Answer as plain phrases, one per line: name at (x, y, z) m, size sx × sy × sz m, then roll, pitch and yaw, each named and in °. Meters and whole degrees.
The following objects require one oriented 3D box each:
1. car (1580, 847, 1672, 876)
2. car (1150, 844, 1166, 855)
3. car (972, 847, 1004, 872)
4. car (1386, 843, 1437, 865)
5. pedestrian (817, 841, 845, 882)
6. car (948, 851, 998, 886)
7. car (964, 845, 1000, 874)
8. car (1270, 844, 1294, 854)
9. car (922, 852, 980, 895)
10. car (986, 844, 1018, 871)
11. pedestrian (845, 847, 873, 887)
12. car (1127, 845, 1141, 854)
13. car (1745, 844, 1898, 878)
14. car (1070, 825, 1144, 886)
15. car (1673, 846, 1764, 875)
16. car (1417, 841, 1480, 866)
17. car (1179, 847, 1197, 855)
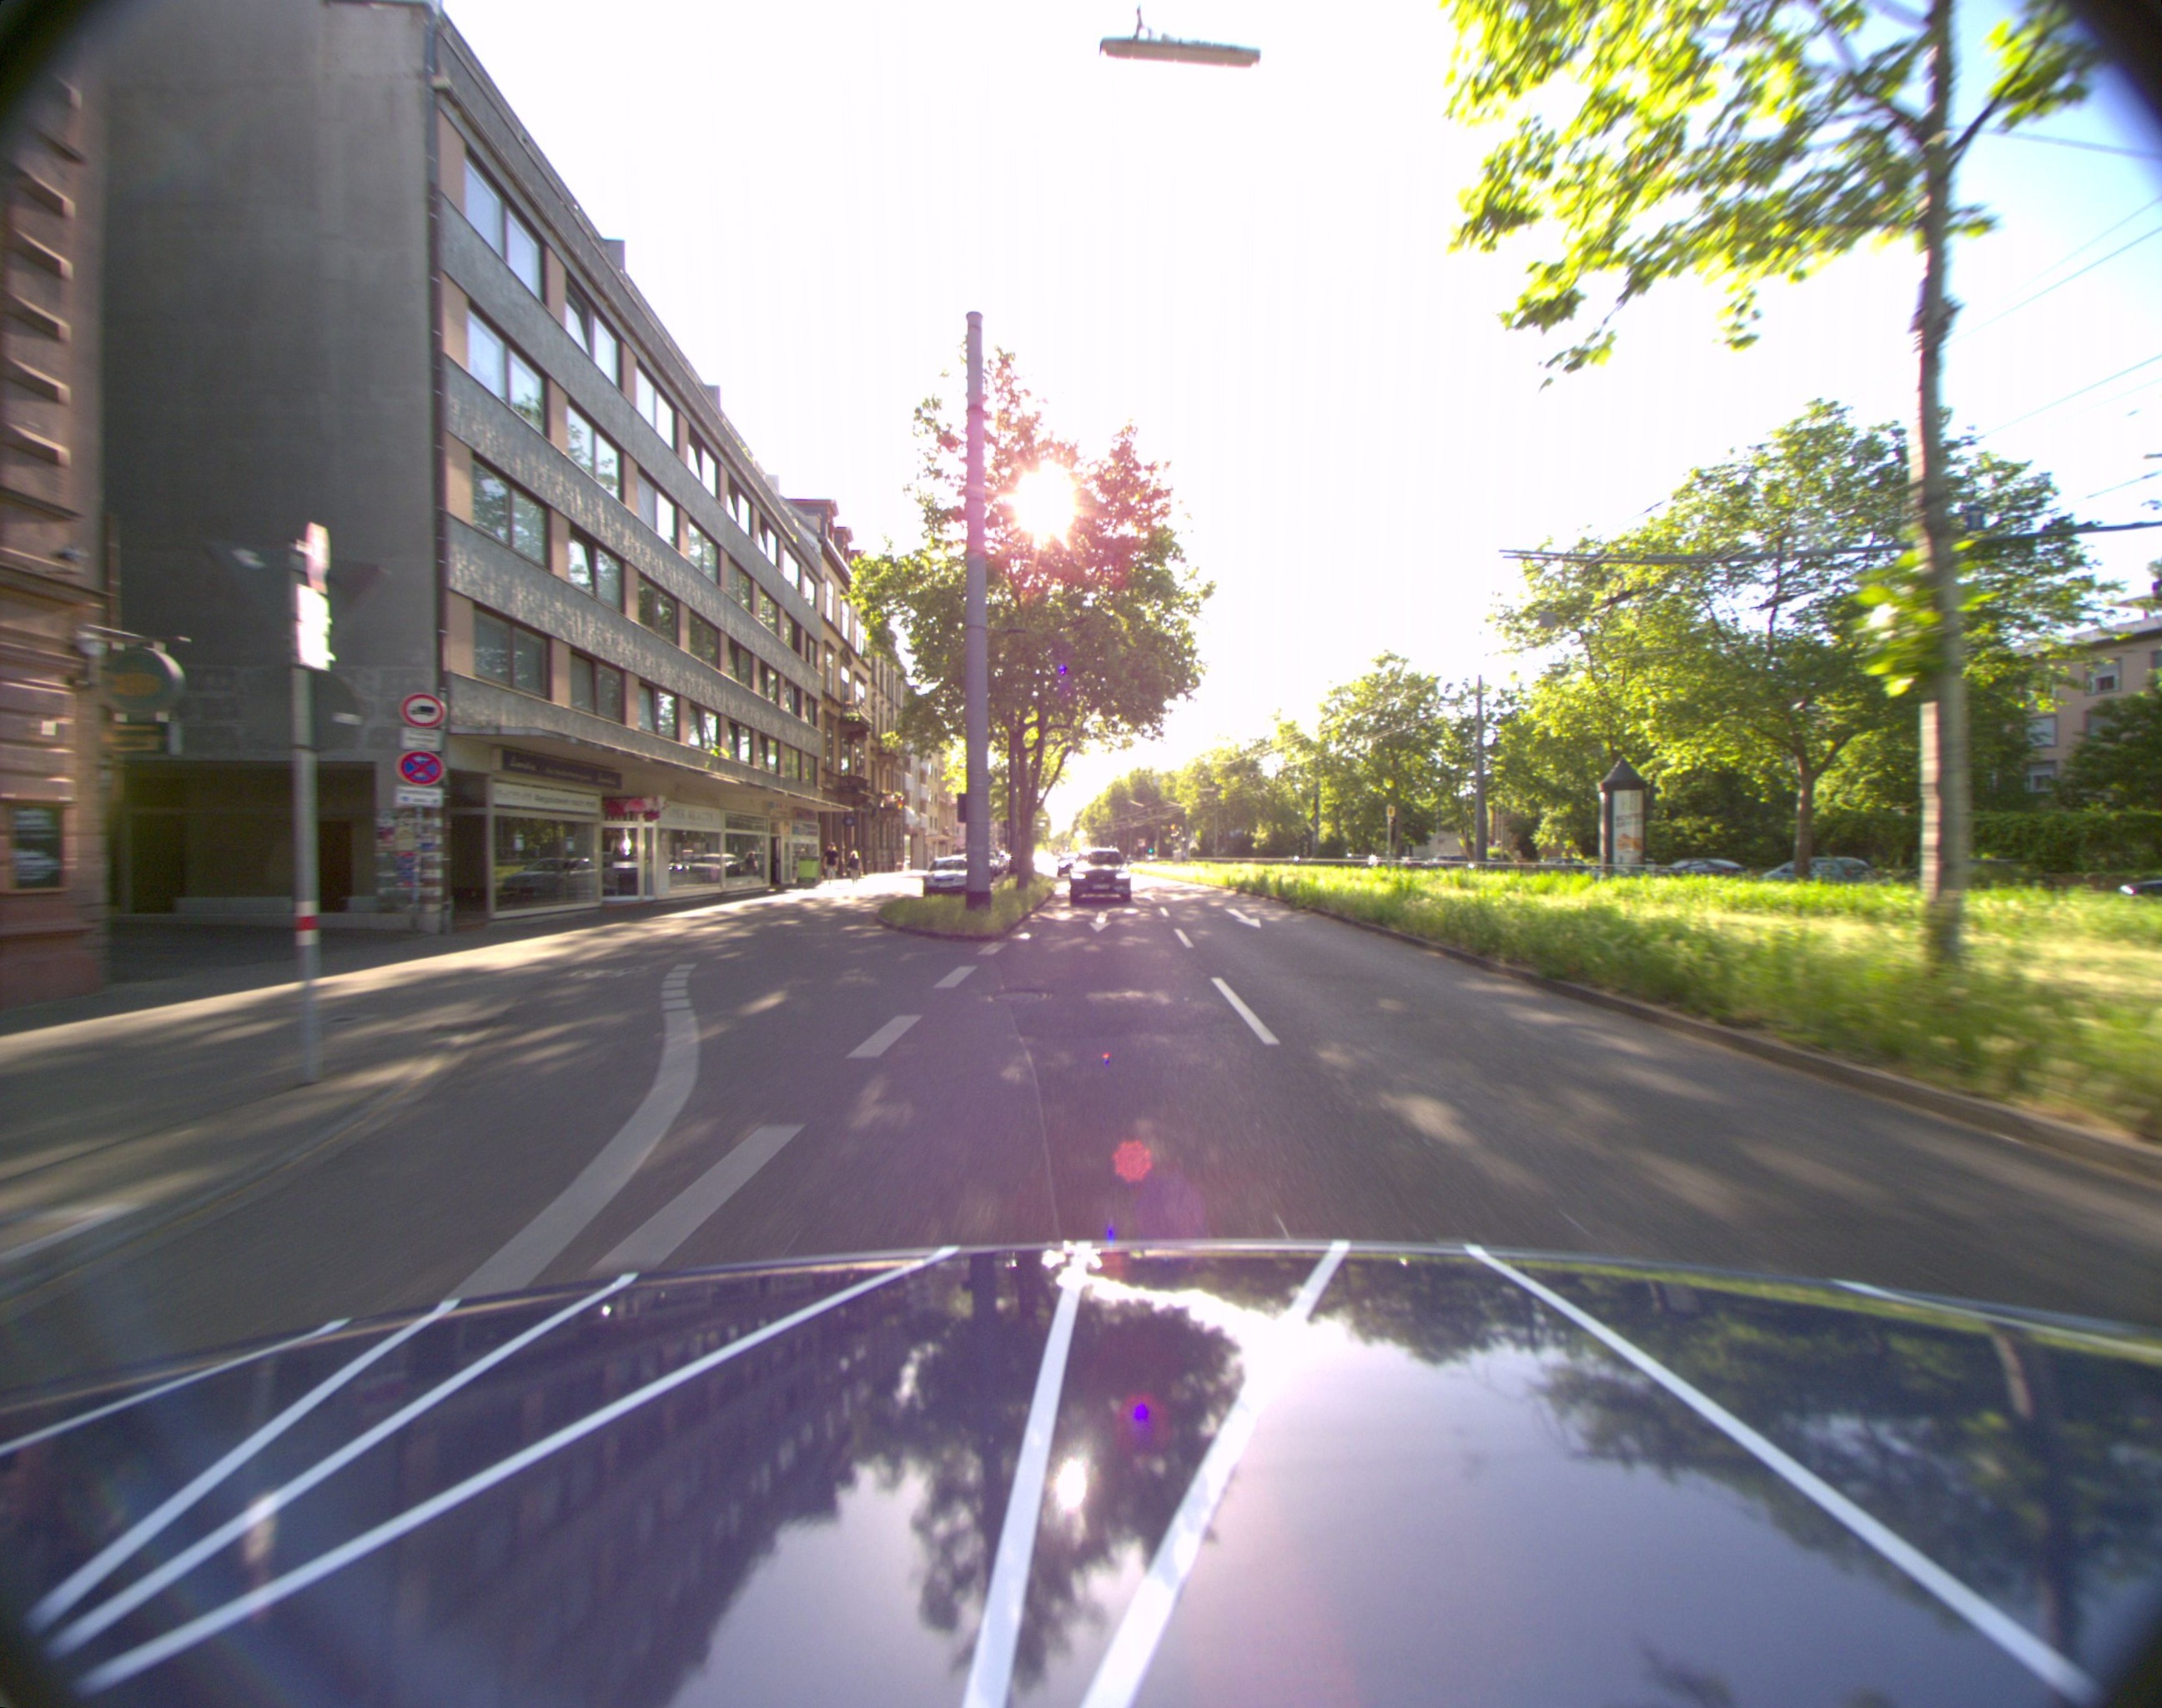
car at (27.288, 0.363, 38.203) m, size 1.774 × 1.304 × 3.779 m, roll -2°, pitch 0°, yaw -4°
car at (11.568, -0.591, 114.164) m, size 1.798 × 1.543 × 4.046 m, roll -2°, pitch 0°, yaw -3°
car at (-6.020, 0.371, 49.649) m, size 1.709 × 1.493 × 4.356 m, roll -2°, pitch 0°, yaw -3°
car at (26.318, -0.001, 60.622) m, size 1.999 × 1.612 × 3.998 m, roll -2°, pitch 0°, yaw -6°
pedestrian at (-11.228, 0.318, 34.162) m, size 1.002 × 1.829 × 0.715 m, roll 0°, pitch 1°, yaw -2°
car at (-5.090, 0.624, 36.289) m, size 1.811 × 1.481 × 4.918 m, roll -2°, pitch 1°, yaw -2°
car at (-5.509, 0.283, 42.745) m, size 1.682 × 1.458 × 4.667 m, roll -2°, pitch 1°, yaw -4°
car at (23.538, -0.574, 89.083) m, size 1.625 × 1.214 × 3.761 m, roll 0°, pitch 0°, yaw -3°
car at (-4.874, 0.698, 28.971) m, size 1.705 × 1.416 × 4.515 m, roll -2°, pitch 0°, yaw -4°
car at (-5.621, 0.248, 54.560) m, size 1.870 × 1.805 × 4.798 m, roll -2°, pitch 0°, yaw -3°
pedestrian at (-10.009, 0.587, 34.298) m, size 1.002 × 1.750 × 0.715 m, roll -2°, pitch 0°, yaw -3°
car at (9.602, -0.727, 137.743) m, size 1.850 × 1.521 × 3.873 m, roll -2°, pitch 0°, yaw -6°
car at (28.148, 0.237, 29.070) m, size 1.797 × 1.171 × 3.998 m, roll -2°, pitch 1°, yaw -4°
car at (0.723, 0.056, 23.745) m, size 1.969 × 1.664 × 3.999 m, roll -2°, pitch 0°, yaw -2°
car at (27.600, 0.239, 32.987) m, size 1.404 × 1.193 × 2.843 m, roll 0°, pitch 1°, yaw -5°
car at (26.676, -0.002, 55.322) m, size 2.000 × 1.673 × 4.512 m, roll -2°, pitch 0°, yaw -6°
car at (14.891, -0.402, 106.136) m, size 1.694 × 1.128 × 4.705 m, roll -2°, pitch 0°, yaw -2°
